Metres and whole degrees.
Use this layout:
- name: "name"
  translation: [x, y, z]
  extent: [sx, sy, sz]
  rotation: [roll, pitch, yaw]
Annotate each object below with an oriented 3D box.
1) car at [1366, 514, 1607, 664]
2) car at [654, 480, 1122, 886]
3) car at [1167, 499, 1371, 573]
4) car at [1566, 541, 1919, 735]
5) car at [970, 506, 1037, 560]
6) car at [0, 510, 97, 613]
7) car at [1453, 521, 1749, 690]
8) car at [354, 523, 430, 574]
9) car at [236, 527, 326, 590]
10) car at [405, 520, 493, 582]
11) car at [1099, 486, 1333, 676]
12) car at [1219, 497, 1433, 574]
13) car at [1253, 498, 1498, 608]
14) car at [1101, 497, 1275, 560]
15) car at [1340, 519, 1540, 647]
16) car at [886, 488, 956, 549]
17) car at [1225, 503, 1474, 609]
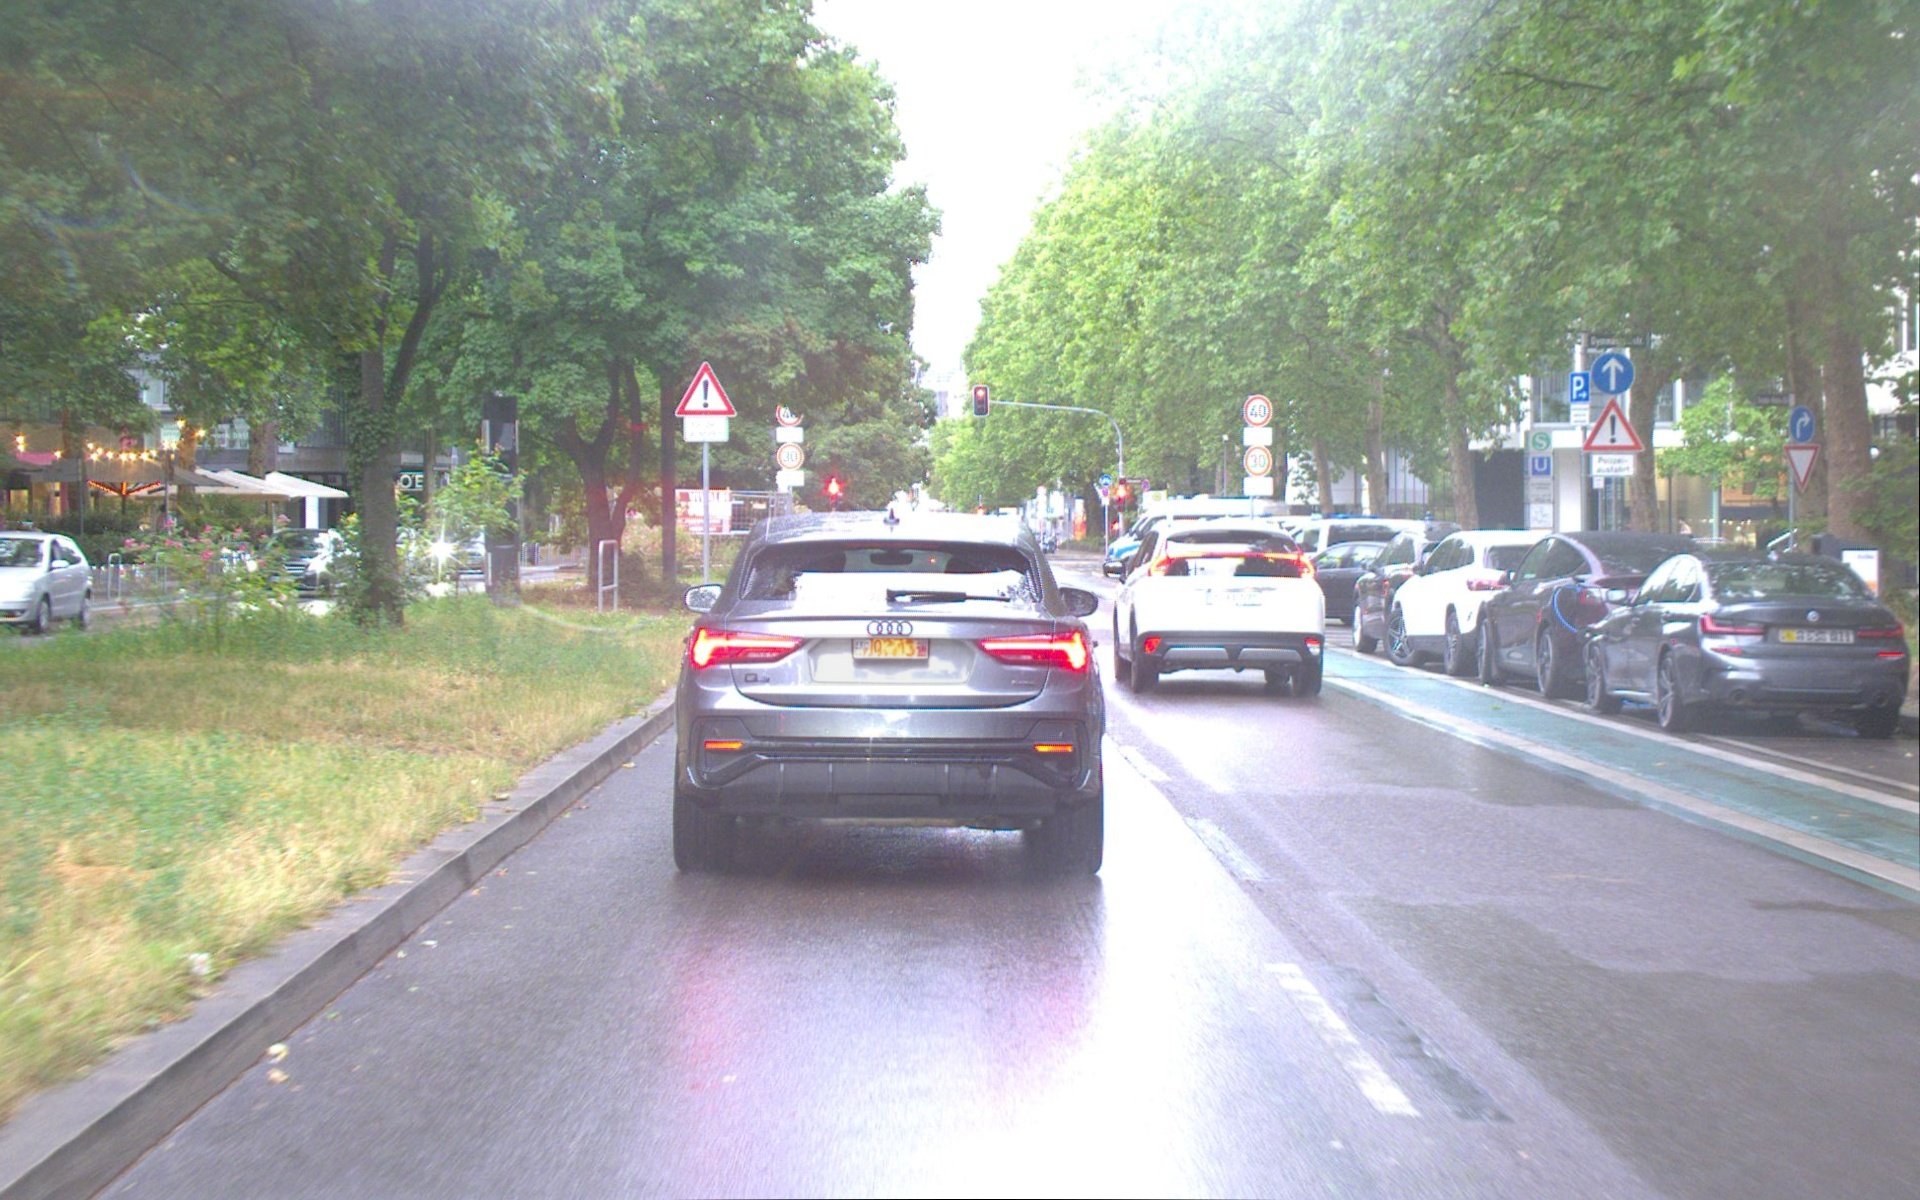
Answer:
- name: "car"
  translation: [5.914, -0.143, 39.047]
  extent: [1.727, 1.566, 4.074]
  rotation: [2, 1, -5]
- name: "car"
  translation: [-0.354, 0.294, 15.769]
  extent: [1.849, 1.596, 4.001]
  rotation: [1, 1, -2]
- name: "car"
  translation: [7.771, -1.619, 86.496]
  extent: [4.645, 1.700, 1.997]
  rotation: [2, 1, 27]
- name: "car"
  translation: [6.421, 0.252, 28.438]
  extent: [1.873, 1.416, 4.612]
  rotation: [2, 1, -1]
- name: "car"
  translation: [1.385, -2.150, 110.982]
  extent: [1.993, 1.645, 4.000]
  rotation: [2, 1, -1]
- name: "car"
  translation: [-13.783, -0.559, 49.728]
  extent: [1.649, 1.430, 3.812]
  rotation: [0, 1, 0]
- name: "car"
  translation: [6.301, 0.022, 34.306]
  extent: [1.867, 1.515, 4.560]
  rotation: [2, 1, -3]
- name: "car"
  translation: [-17.885, -1.610, 108.321]
  extent: [1.726, 1.513, 4.000]
  rotation: [2, 1, 0]
- name: "car"
  translation: [-14.330, -0.885, 72.642]
  extent: [1.688, 1.253, 3.646]
  rotation: [2, 1, -9]
- name: "car"
  translation: [-14.707, -1.414, 99.169]
  extent: [1.760, 1.698, 4.333]
  rotation: [2, 1, 1]
- name: "car"
  translation: [2.442, -0.199, 33.677]
  extent: [1.878, 1.691, 4.000]
  rotation: [2, 1, -1]
- name: "car"
  translation: [8.793, -1.551, 82.630]
  extent: [4.645, 1.700, 1.997]
  rotation: [2, 1, 27]
- name: "car"
  translation: [9.090, -1.030, 75.269]
  extent: [4.889, 2.246, 1.997]
  rotation: [2, 1, 28]
- name: "car"
  translation: [6.661, -2.089, 100.523]
  extent: [4.645, 1.700, 1.997]
  rotation: [2, 1, 27]
- name: "car"
  translation: [6.087, -0.236, 43.990]
  extent: [1.695, 1.518, 4.024]
  rotation: [2, 1, -4]
- name: "car"
  translation: [-1.190, -2.407, 102.653]
  extent: [1.993, 1.720, 4.000]
  rotation: [2, 1, -2]
- name: "car"
  translation: [7.839, -0.898, 69.400]
  extent: [4.602, 2.007, 1.964]
  rotation: [2, 1, 37]
